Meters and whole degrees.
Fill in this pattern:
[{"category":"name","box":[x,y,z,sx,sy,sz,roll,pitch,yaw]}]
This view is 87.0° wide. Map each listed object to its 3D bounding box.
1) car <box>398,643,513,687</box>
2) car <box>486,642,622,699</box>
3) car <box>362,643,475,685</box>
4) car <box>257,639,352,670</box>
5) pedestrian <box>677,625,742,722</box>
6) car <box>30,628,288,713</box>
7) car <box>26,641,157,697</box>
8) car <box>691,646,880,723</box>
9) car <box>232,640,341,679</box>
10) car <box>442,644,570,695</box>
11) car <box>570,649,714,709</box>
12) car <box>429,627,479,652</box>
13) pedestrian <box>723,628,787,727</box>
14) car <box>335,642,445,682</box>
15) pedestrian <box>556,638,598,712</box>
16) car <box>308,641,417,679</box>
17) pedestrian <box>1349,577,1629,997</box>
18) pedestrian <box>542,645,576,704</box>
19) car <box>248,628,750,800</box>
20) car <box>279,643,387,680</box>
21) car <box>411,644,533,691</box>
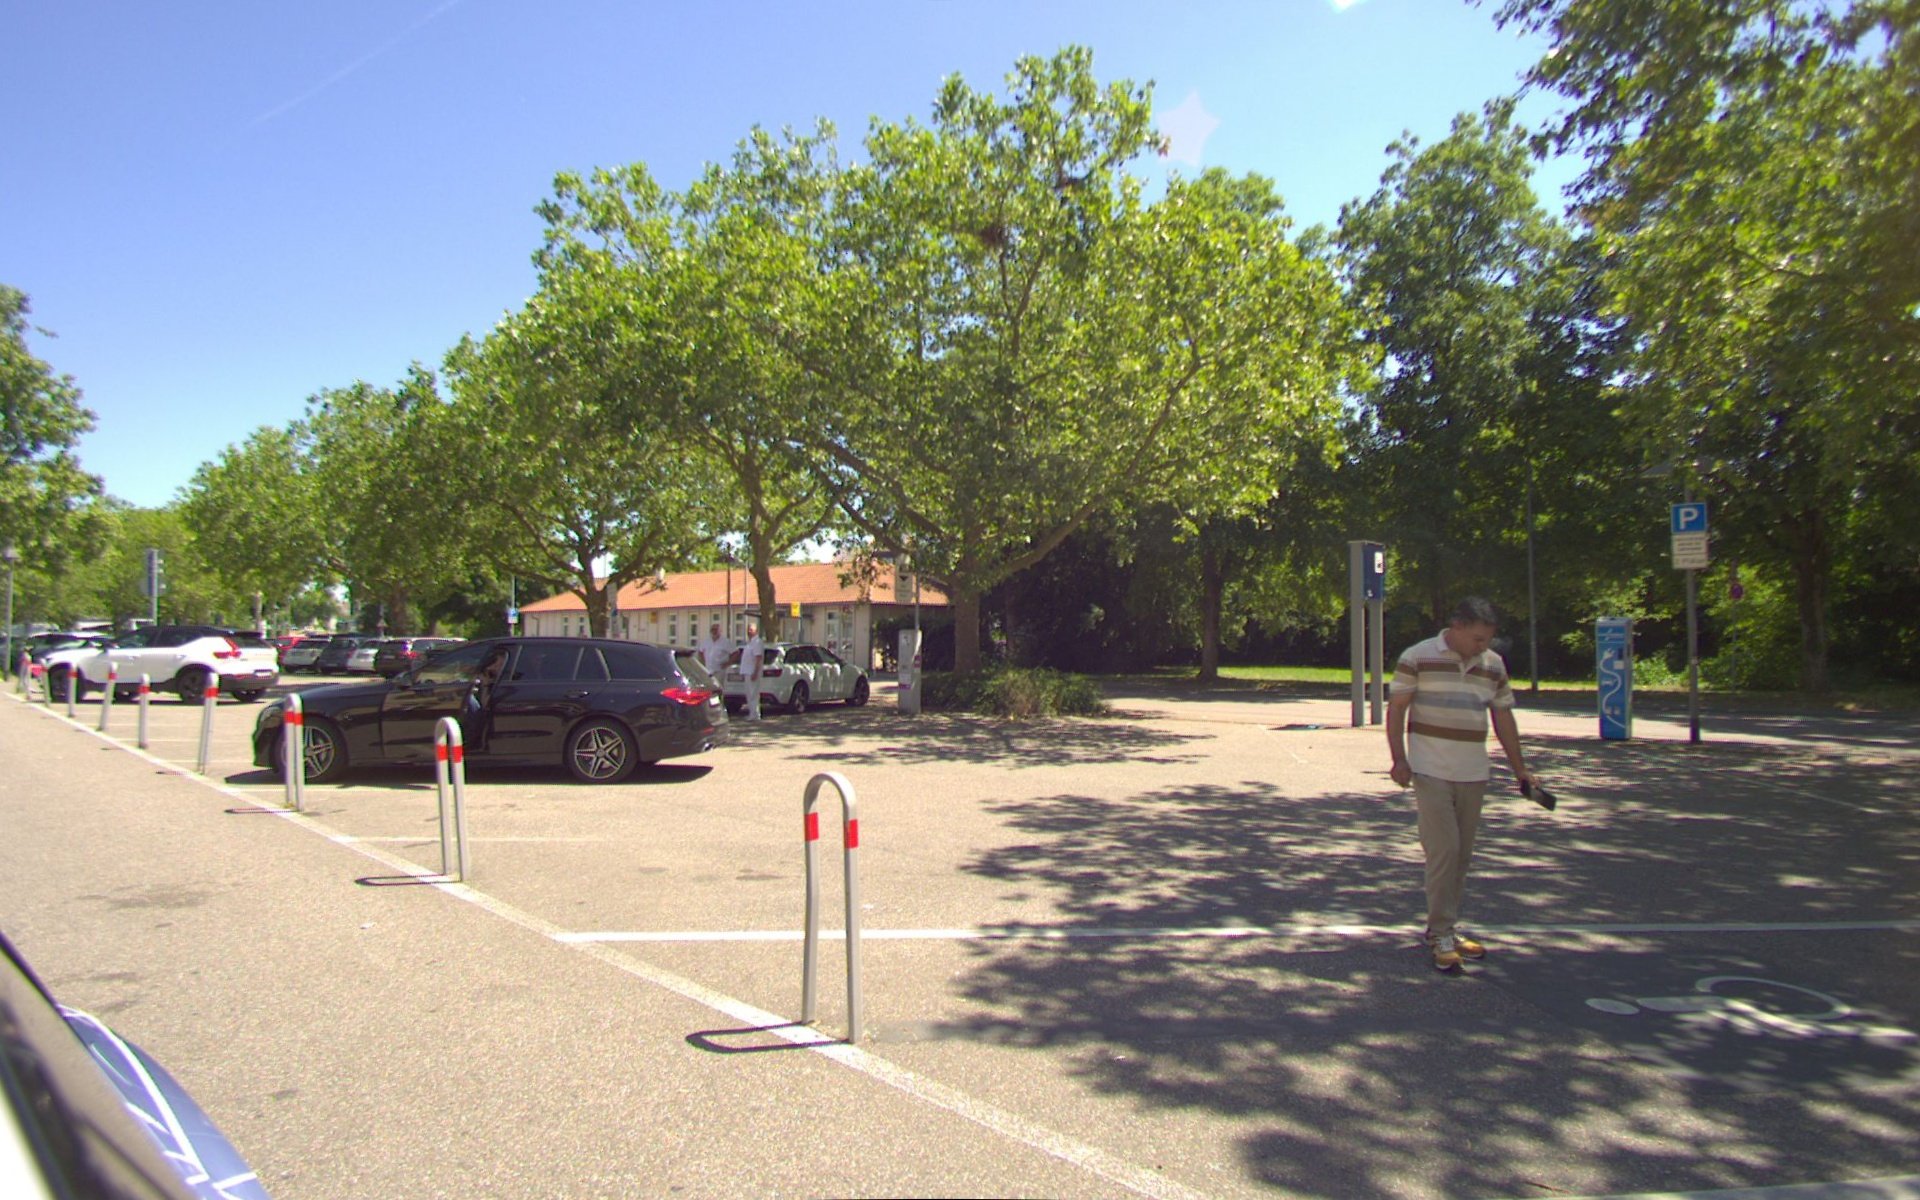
[{"category":"car","box":[-18.127,2.295,36.573,1.620,1.471,3.859,0,-2,13]},{"category":"car","box":[-11.372,1.935,28.631,1.620,1.471,3.859,0,-2,13]},{"category":"car","box":[-20.332,2.370,38.191,1.620,1.471,3.859,0,-2,13]},{"category":"car","box":[-32.035,2.637,49.607,1.620,1.458,3.859,0,-2,13]},{"category":"pedestrian","box":[-4.757,1.382,19.245,0.846,1.784,0.832,-1,-3,23]},{"category":"car","box":[-17.055,1.478,21.717,4.003,1.617,1.802,2,-1,-3]},{"category":"car","box":[-30.917,2.420,36.043,3.968,1.908,1.728,-1,-3,19]},{"category":"car","box":[-3.586,1.723,21.827,1.775,1.428,4.742,-1,-2,22]},{"category":"car","box":[-29.132,2.536,43.911,1.620,1.587,3.859,0,-2,13]},{"category":"car","box":[-13.990,2.095,31.450,1.620,1.471,3.859,0,-2,13]},{"category":"car","box":[-8.189,1.995,26.486,1.859,1.416,4.011,0,-2,12]},{"category":"car","box":[-33.291,2.586,66.573,3.876,1.587,1.613,-2,-3,42]},{"category":"pedestrian","box":[-3.806,1.418,18.842,0.846,1.784,0.833,-1,-3,21]},{"category":"car","box":[-22.570,2.417,40.209,1.620,1.471,3.859,0,-2,13]},{"category":"pedestrian","box":[-8.290,1.615,21.911,0.610,1.560,0.582,-2,-4,38]},{"category":"car","box":[-24.464,2.442,41.583,1.620,1.471,3.859,0,-2,13]},{"category":"pedestrian","box":[2.359,0.786,4.616,0.802,1.730,0.774,0,-2,-5]},{"category":"pedestrian","box":[-9.942,1.836,25.071,0.679,1.435,0.803,1,-3,-27]},{"category":"car","box":[-4.620,1.147,10.723,4.461,1.555,1.802,2,-1,-4]},{"category":"car","box":[-26.440,2.555,42.803,1.620,1.471,3.859,0,-2,13]},{"category":"car","box":[-16.310,2.235,34.059,1.620,1.471,3.859,0,-2,13]}]
